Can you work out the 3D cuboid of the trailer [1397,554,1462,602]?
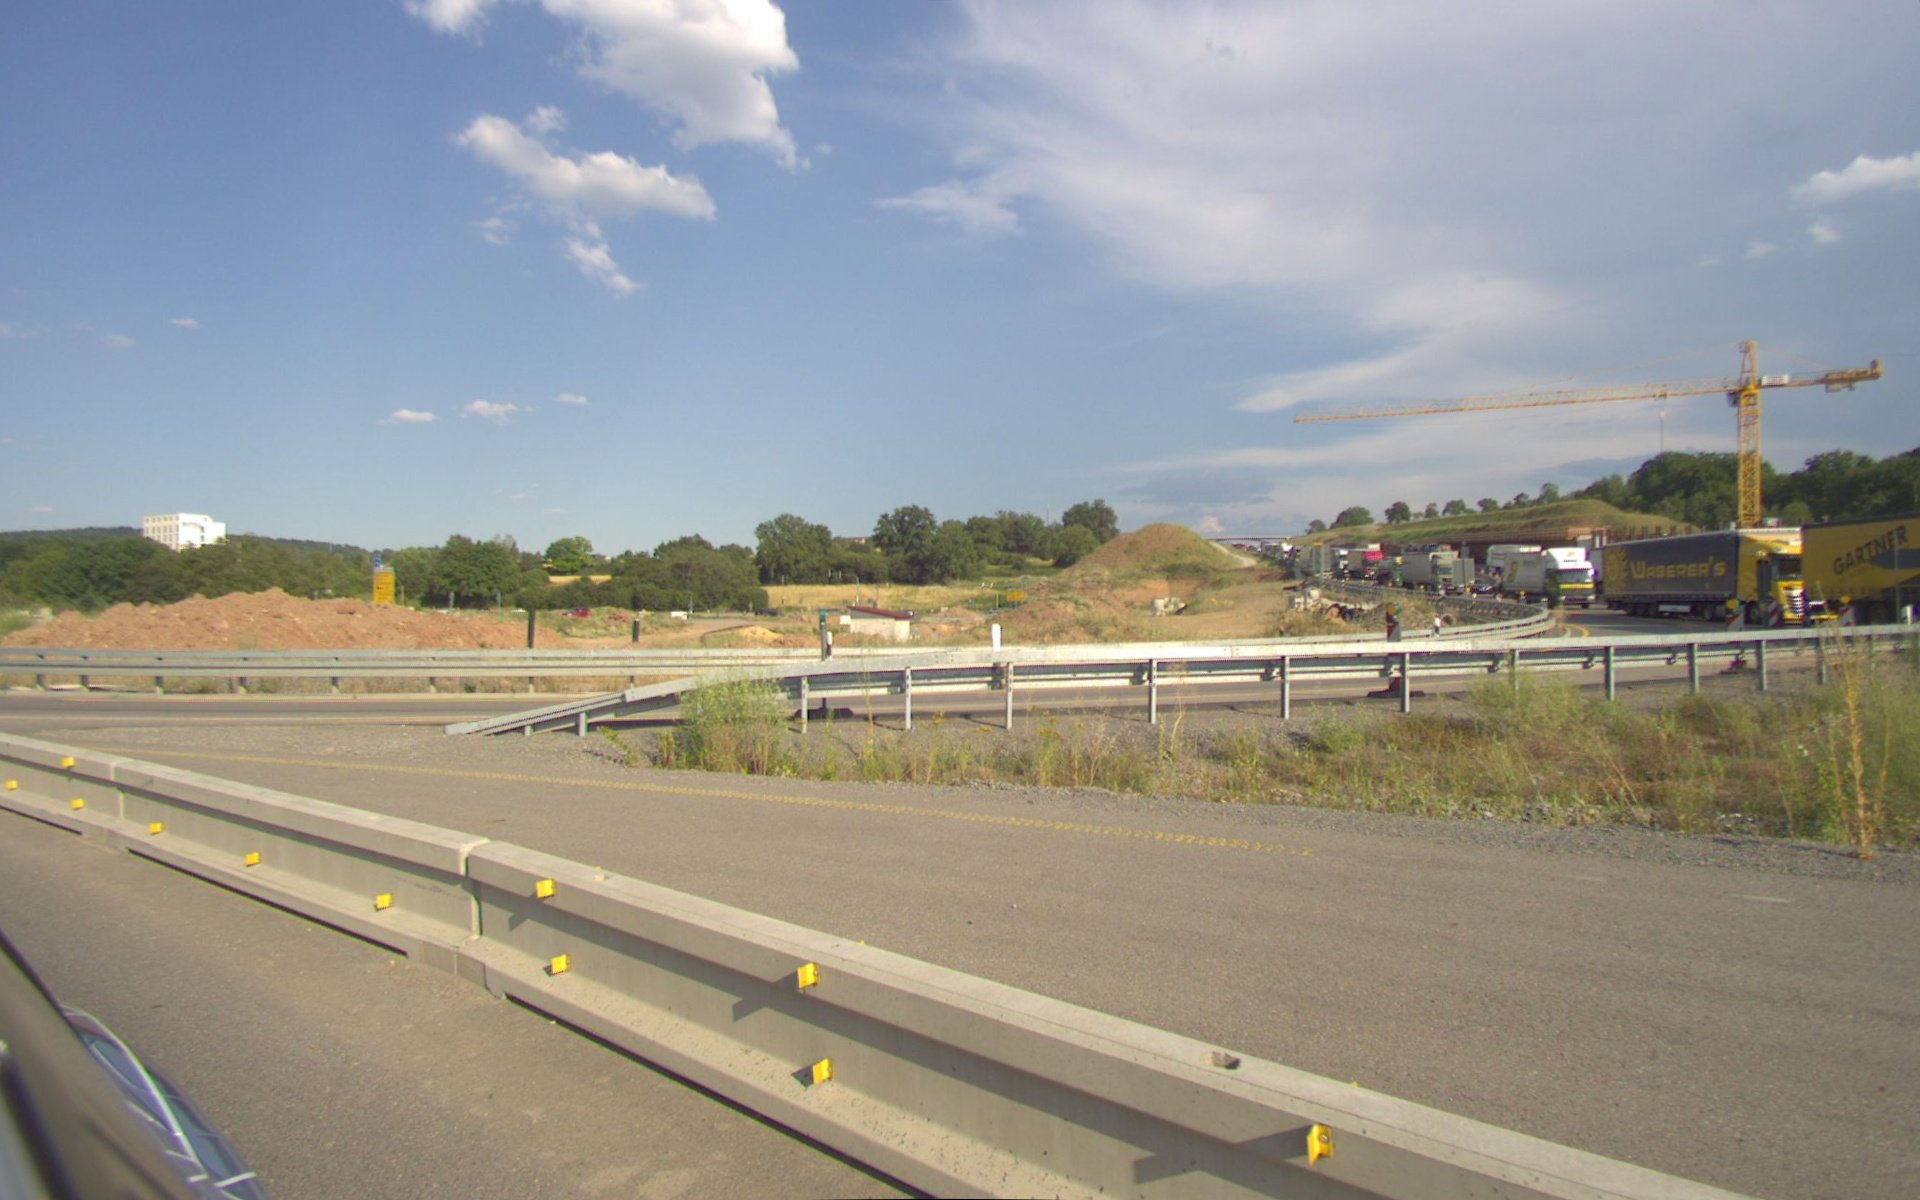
[{"bbox_3d":[47.565,-2.071,103.049,3.082,4.347,14.193,0,-1,13],"label":"trailer"}]

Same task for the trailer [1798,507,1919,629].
[{"bbox_3d":[32.601,-1.072,32.528,2.463,3.988,13.920,-1,-1,12],"label":"trailer"}]

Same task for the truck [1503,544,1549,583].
[{"bbox_3d":[74.876,-4.685,134.047,3.548,4.445,13.079,0,-1,21],"label":"truck"}]

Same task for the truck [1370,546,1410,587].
[{"bbox_3d":[49.703,-3.814,117.093,3.083,4.347,6.868,0,-1,13],"label":"truck"}]

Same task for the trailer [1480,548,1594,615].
[{"bbox_3d":[41.252,-1.117,73.093,3.082,4.347,14.193,0,-1,13],"label":"trailer"}]

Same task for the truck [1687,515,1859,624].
[{"bbox_3d":[35.018,-1.173,43.998,3.083,4.347,6.868,0,-1,13],"label":"truck"}]

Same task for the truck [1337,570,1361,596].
[{"bbox_3d":[61.869,-2.654,161.005,2.499,4.031,8.514,0,-1,14],"label":"truck"}]

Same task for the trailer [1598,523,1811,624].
[{"bbox_3d":[36.441,-1.066,50.571,3.082,4.347,14.193,0,-1,13],"label":"trailer"}]

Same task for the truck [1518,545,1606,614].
[{"bbox_3d":[40.031,-1.256,67.548,3.083,4.347,6.868,0,-1,13],"label":"truck"}]

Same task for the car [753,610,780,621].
[{"bbox_3d":[-26.883,2.156,140.682,1.702,1.530,4.486,2,-1,19],"label":"car"}]

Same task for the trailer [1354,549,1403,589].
[{"bbox_3d":[51.432,-3.733,124.799,3.082,4.347,14.193,0,-1,13],"label":"trailer"}]

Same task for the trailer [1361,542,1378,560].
[{"bbox_3d":[95.084,-11.342,235.008,1.952,3.540,11.128,0,-1,13],"label":"trailer"}]

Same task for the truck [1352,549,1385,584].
[{"bbox_3d":[55.761,-4.529,138.360,3.083,4.347,6.868,0,-1,13],"label":"truck"}]

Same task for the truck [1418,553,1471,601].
[{"bbox_3d":[46.201,-2.113,96.696,3.083,4.347,6.868,0,-1,13],"label":"truck"}]
